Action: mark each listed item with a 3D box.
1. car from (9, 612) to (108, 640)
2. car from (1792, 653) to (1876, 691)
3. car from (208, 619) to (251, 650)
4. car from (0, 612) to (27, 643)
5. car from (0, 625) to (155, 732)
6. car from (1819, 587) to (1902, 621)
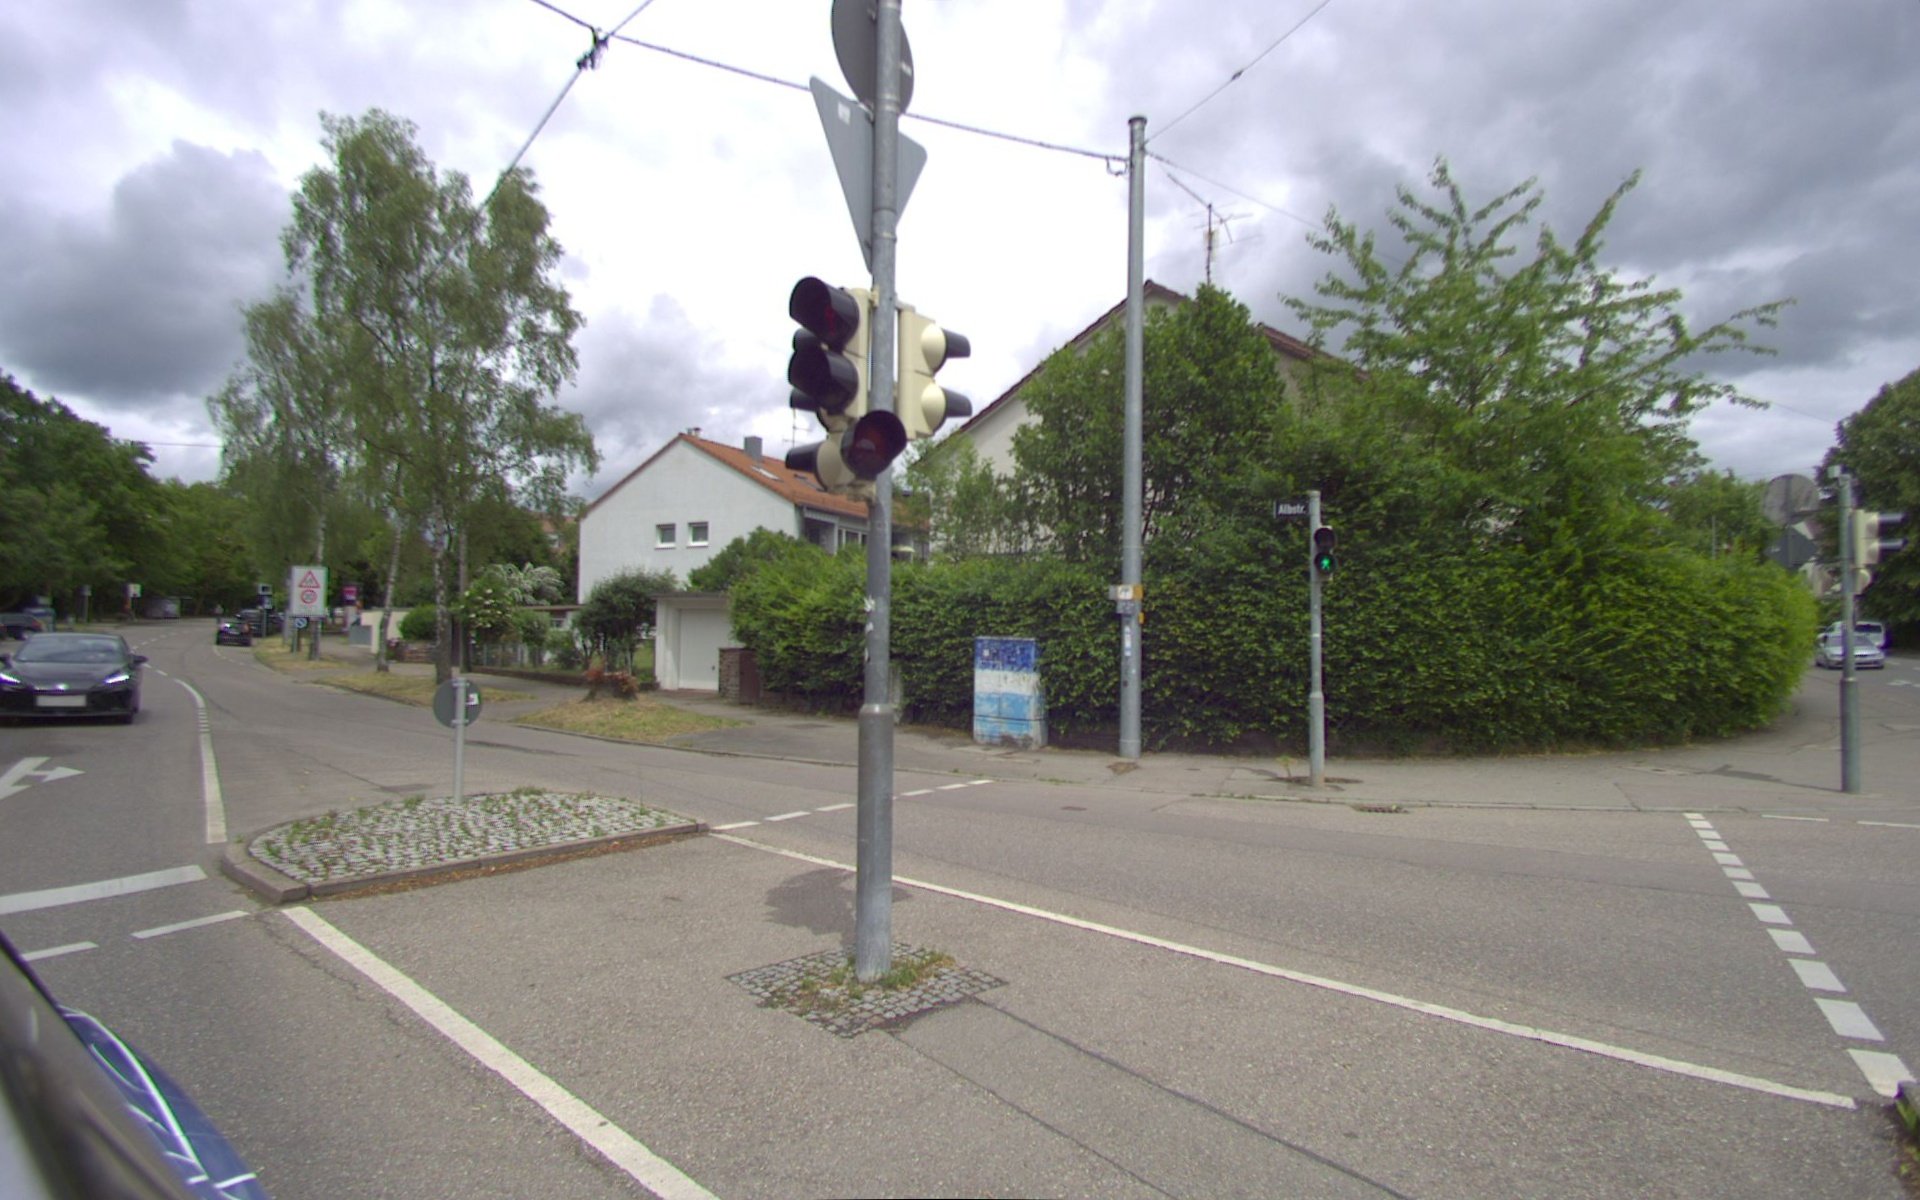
[{"bbox_3d":[-55.659,1.615,62.532,2.000,1.621,4.356,-1,-3,43],"label":"car"},{"bbox_3d":[34.555,2.827,40.131,1.711,1.364,4.041,-1,-3,30],"label":"car"},{"bbox_3d":[-45.482,2.117,63.075,1.943,1.621,4.430,5,-2,-35],"label":"car"},{"bbox_3d":[-52.604,1.411,53.630,1.997,1.621,4.363,-1,-3,37],"label":"car"},{"bbox_3d":[-15.312,1.265,17.543,1.967,1.630,4.009,2,-3,-37],"label":"car"},{"bbox_3d":[50.981,0.242,57.401,1.828,1.787,4.294,2,0,17],"label":"car"}]
